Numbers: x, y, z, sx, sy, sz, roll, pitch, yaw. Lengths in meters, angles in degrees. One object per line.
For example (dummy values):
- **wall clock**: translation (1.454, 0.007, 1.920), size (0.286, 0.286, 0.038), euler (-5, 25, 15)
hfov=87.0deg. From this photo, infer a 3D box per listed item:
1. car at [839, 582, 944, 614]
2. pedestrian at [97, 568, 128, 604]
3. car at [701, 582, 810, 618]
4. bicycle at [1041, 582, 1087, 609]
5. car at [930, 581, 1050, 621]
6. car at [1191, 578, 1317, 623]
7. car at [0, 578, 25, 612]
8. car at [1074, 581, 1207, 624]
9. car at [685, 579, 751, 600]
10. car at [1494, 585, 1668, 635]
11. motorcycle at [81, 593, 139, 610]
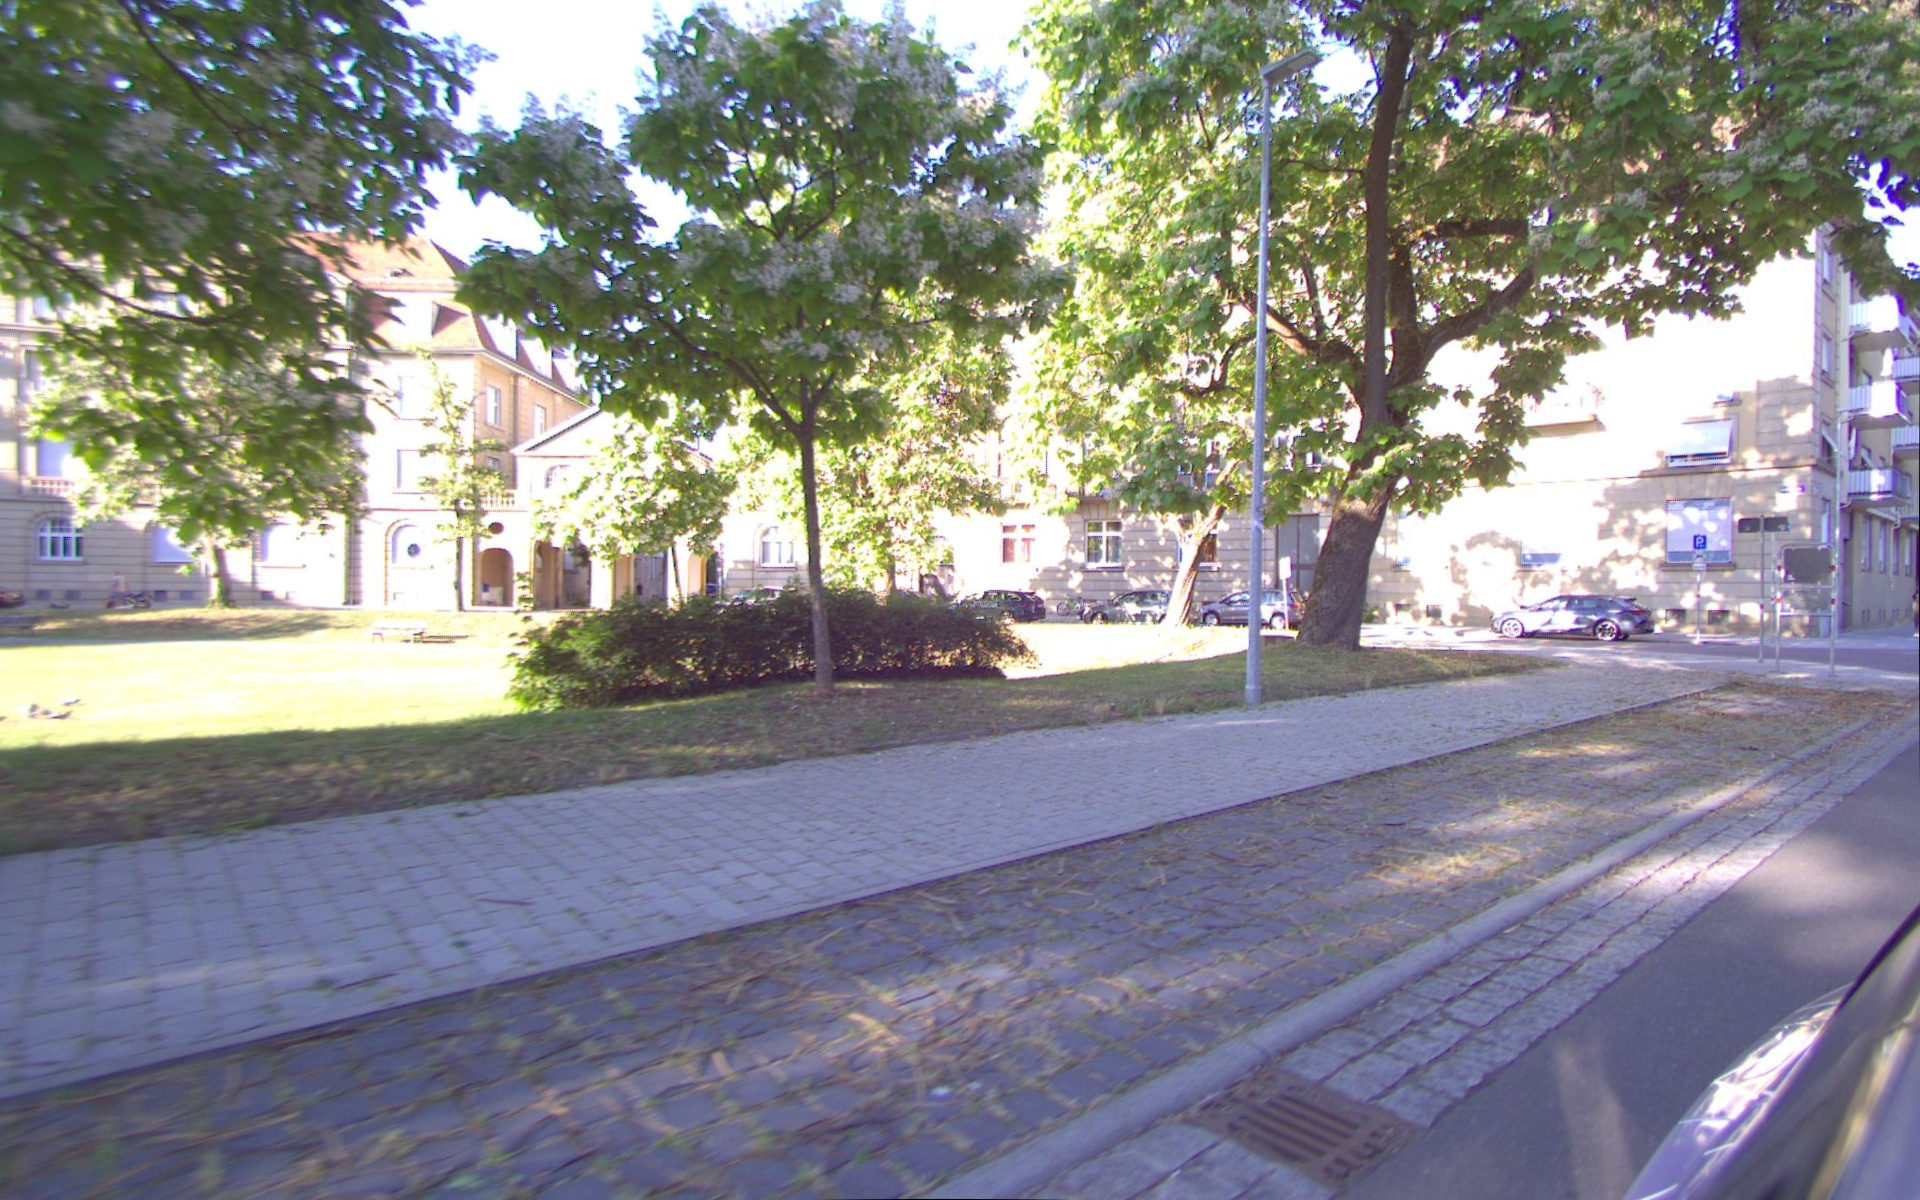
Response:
- **car**: translation (-3.214, -0.131, 47.542), size (4.590, 1.435, 1.809), euler (1, 1, 19)
- **pedestrian**: translation (-35.419, -0.603, 42.311), size (0.933, 1.493, 0.682), euler (-1, 1, -38)
- **car**: translation (-8.719, -0.022, 43.188), size (4.317, 1.435, 1.808), euler (1, 1, 21)
- **bicycle**: translation (4.946, -0.242, 48.183), size (2.102, 1.245, 0.609), euler (1, 1, 26)
- **car**: translation (1.131, 0.010, 38.892), size (4.395, 1.435, 1.552), euler (1, 1, 27)
- **car**: translation (11.458, -0.022, 39.558), size (4.420, 1.619, 1.782), euler (1, 1, 33)
- **car**: translation (-43.234, -0.196, 42.978), size (4.845, 1.435, 1.824), euler (0, 1, -16)
- **car**: translation (6.384, 0.053, 35.970), size (4.330, 1.435, 1.826), euler (1, 1, 30)
- **car**: translation (-17.052, -0.776, 71.491), size (4.284, 1.435, 1.822), euler (0, 1, -5)
- **car**: translation (19.771, 0.255, 32.328), size (1.905, 1.436, 4.441), euler (-1, 2, -45)
- **motorcycle**: translation (-35.473, 0.046, 42.279), size (1.825, 0.679, 0.682), euler (-1, 2, -38)
